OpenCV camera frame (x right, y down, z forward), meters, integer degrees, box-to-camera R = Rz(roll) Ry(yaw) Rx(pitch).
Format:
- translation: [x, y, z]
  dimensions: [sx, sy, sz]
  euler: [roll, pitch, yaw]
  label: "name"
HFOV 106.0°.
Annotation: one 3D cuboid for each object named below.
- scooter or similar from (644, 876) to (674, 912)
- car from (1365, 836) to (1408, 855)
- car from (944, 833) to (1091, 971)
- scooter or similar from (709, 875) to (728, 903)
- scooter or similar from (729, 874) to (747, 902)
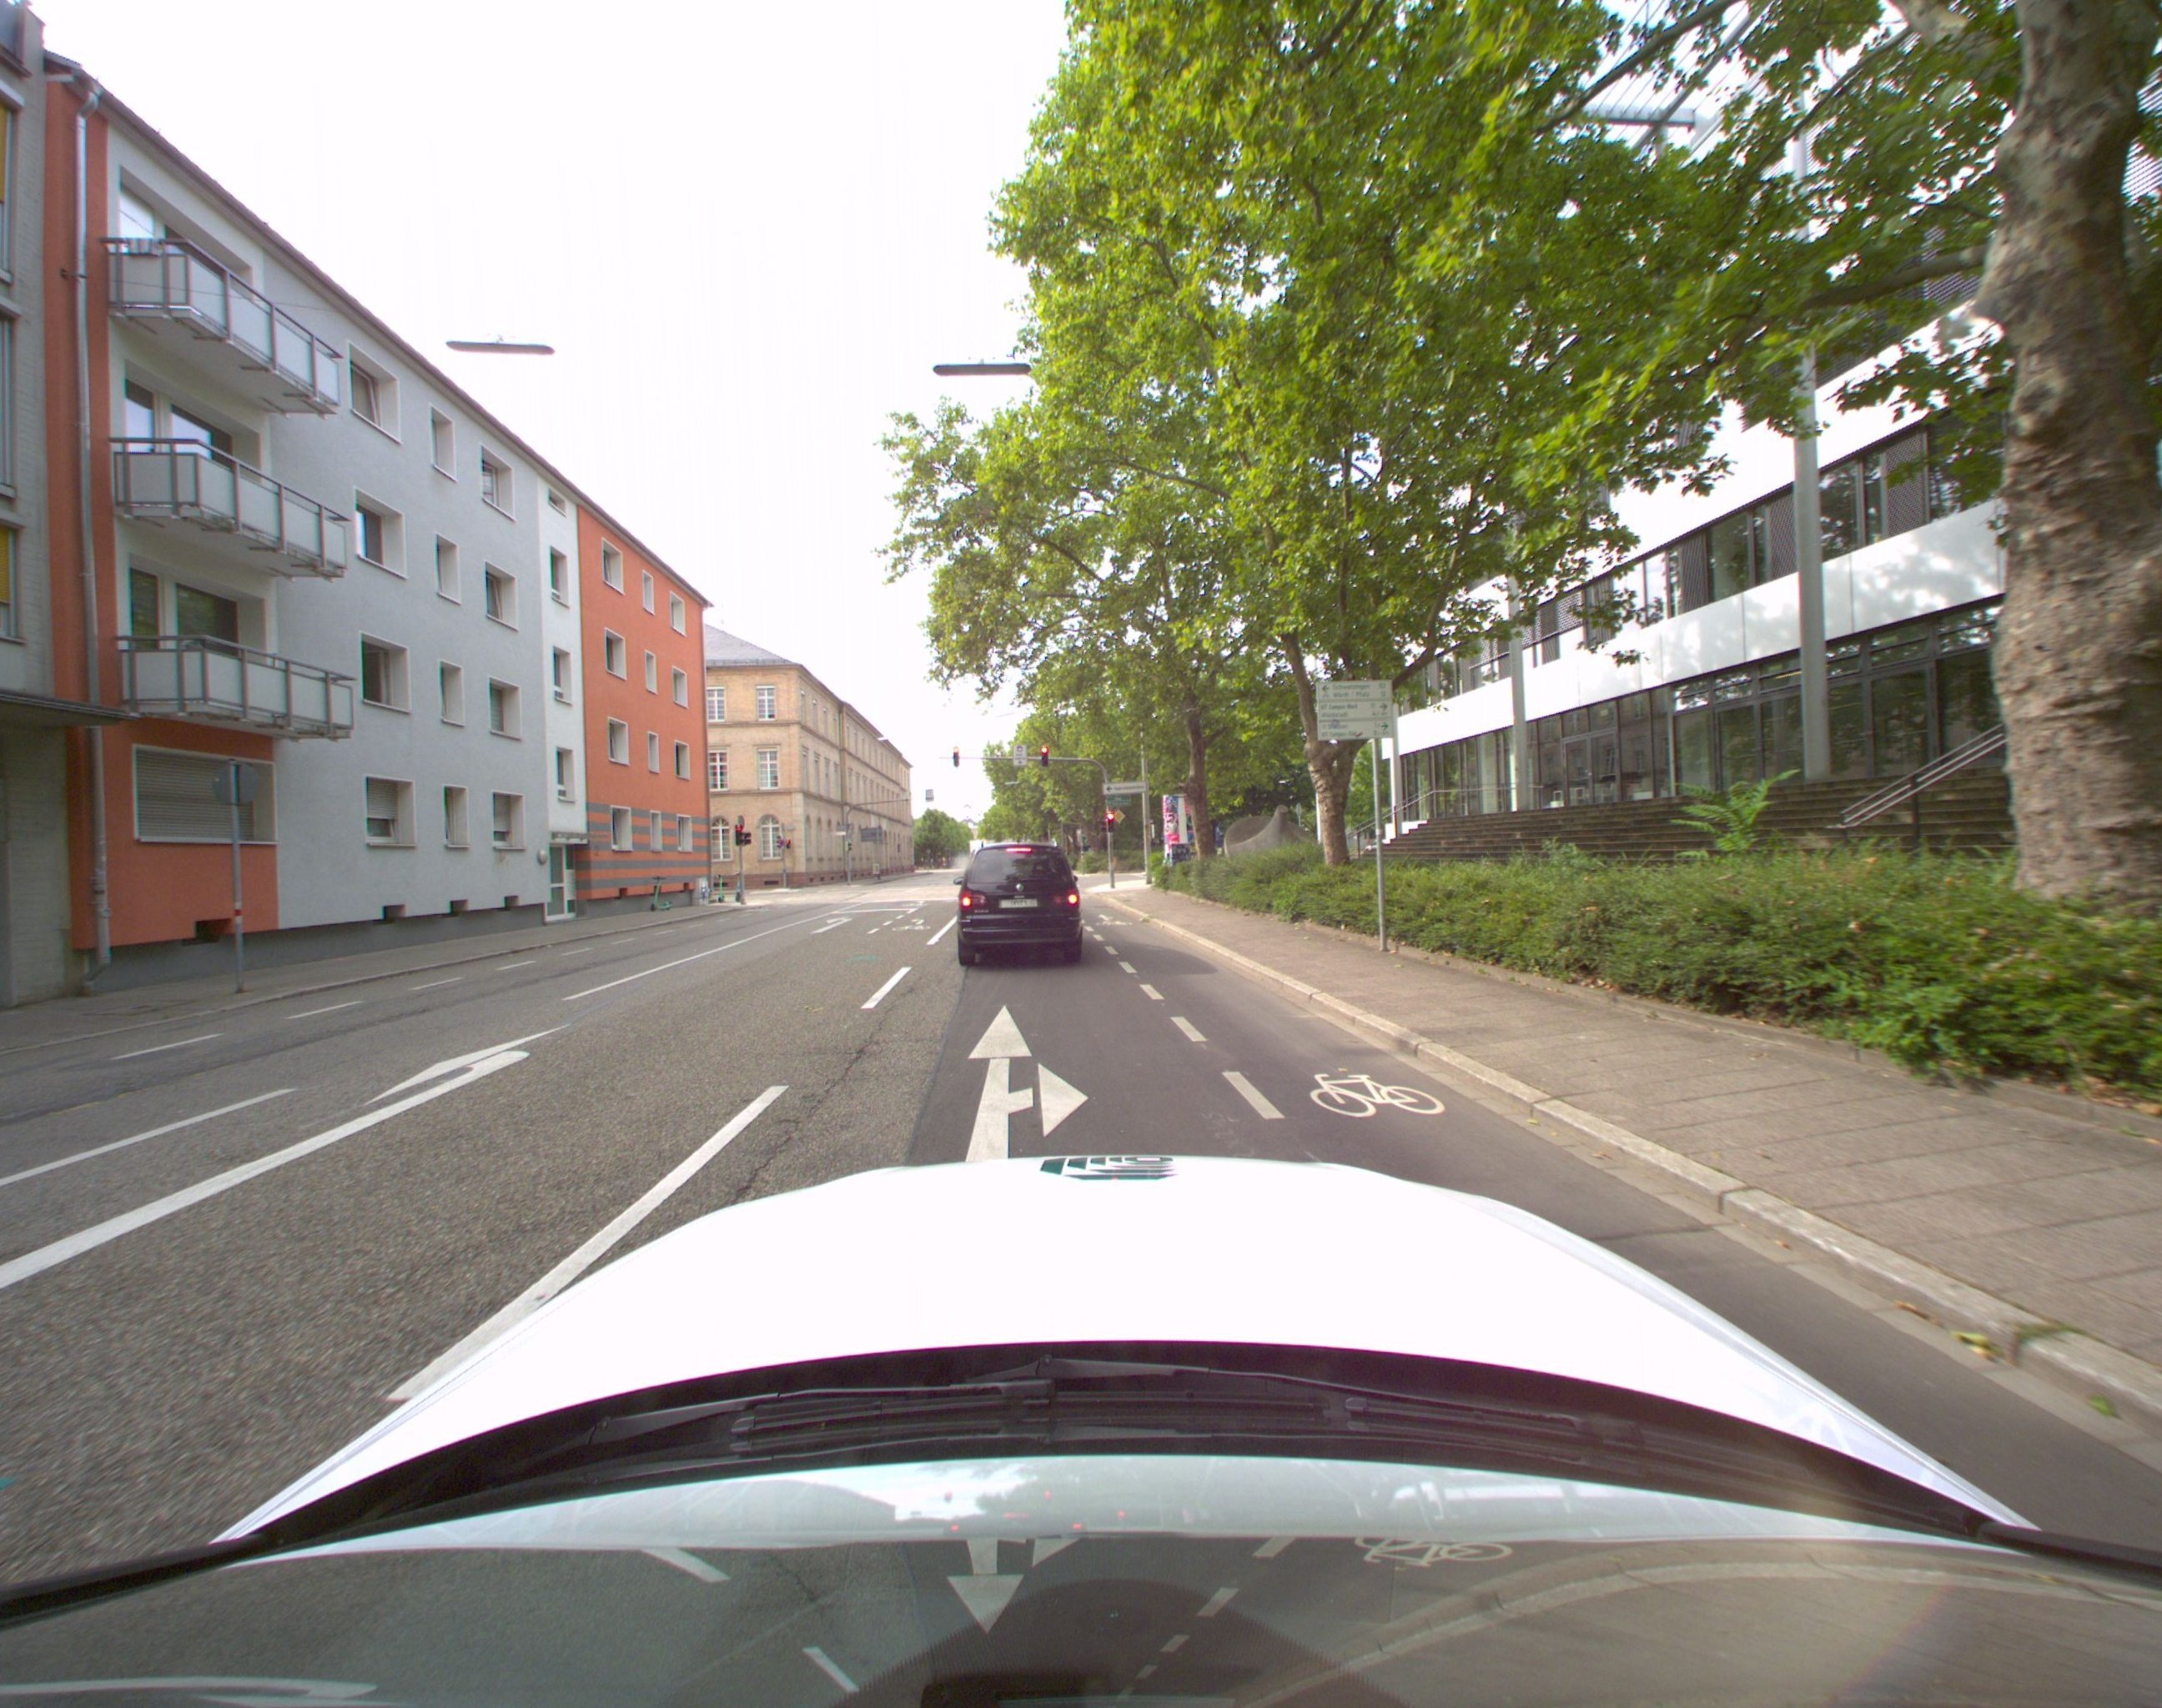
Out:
- translation: [-14.356, 1.357, 27.744]
  dimensions: [0.377, 1.184, 1.387]
  euler: [-2, -2, -5]
  label: "scooter or similar"
- translation: [27.883, -0.740, 74.456]
  dimensions: [1.959, 1.651, 4.143]
  euler: [-3, 0, -7]
  label: "car"
- translation: [-0.902, 0.621, 13.019]
  dimensions: [1.869, 1.745, 4.570]
  euler: [-2, 0, -2]
  label: "car"
- translation: [-15.077, 1.455, 33.908]
  dimensions: [0.378, 1.147, 1.138]
  euler: [-2, -2, -8]
  label: "scooter or similar"
- translation: [-14.533, 1.446, 34.504]
  dimensions: [0.378, 1.144, 1.138]
  euler: [-2, -2, -8]
  label: "scooter or similar"
